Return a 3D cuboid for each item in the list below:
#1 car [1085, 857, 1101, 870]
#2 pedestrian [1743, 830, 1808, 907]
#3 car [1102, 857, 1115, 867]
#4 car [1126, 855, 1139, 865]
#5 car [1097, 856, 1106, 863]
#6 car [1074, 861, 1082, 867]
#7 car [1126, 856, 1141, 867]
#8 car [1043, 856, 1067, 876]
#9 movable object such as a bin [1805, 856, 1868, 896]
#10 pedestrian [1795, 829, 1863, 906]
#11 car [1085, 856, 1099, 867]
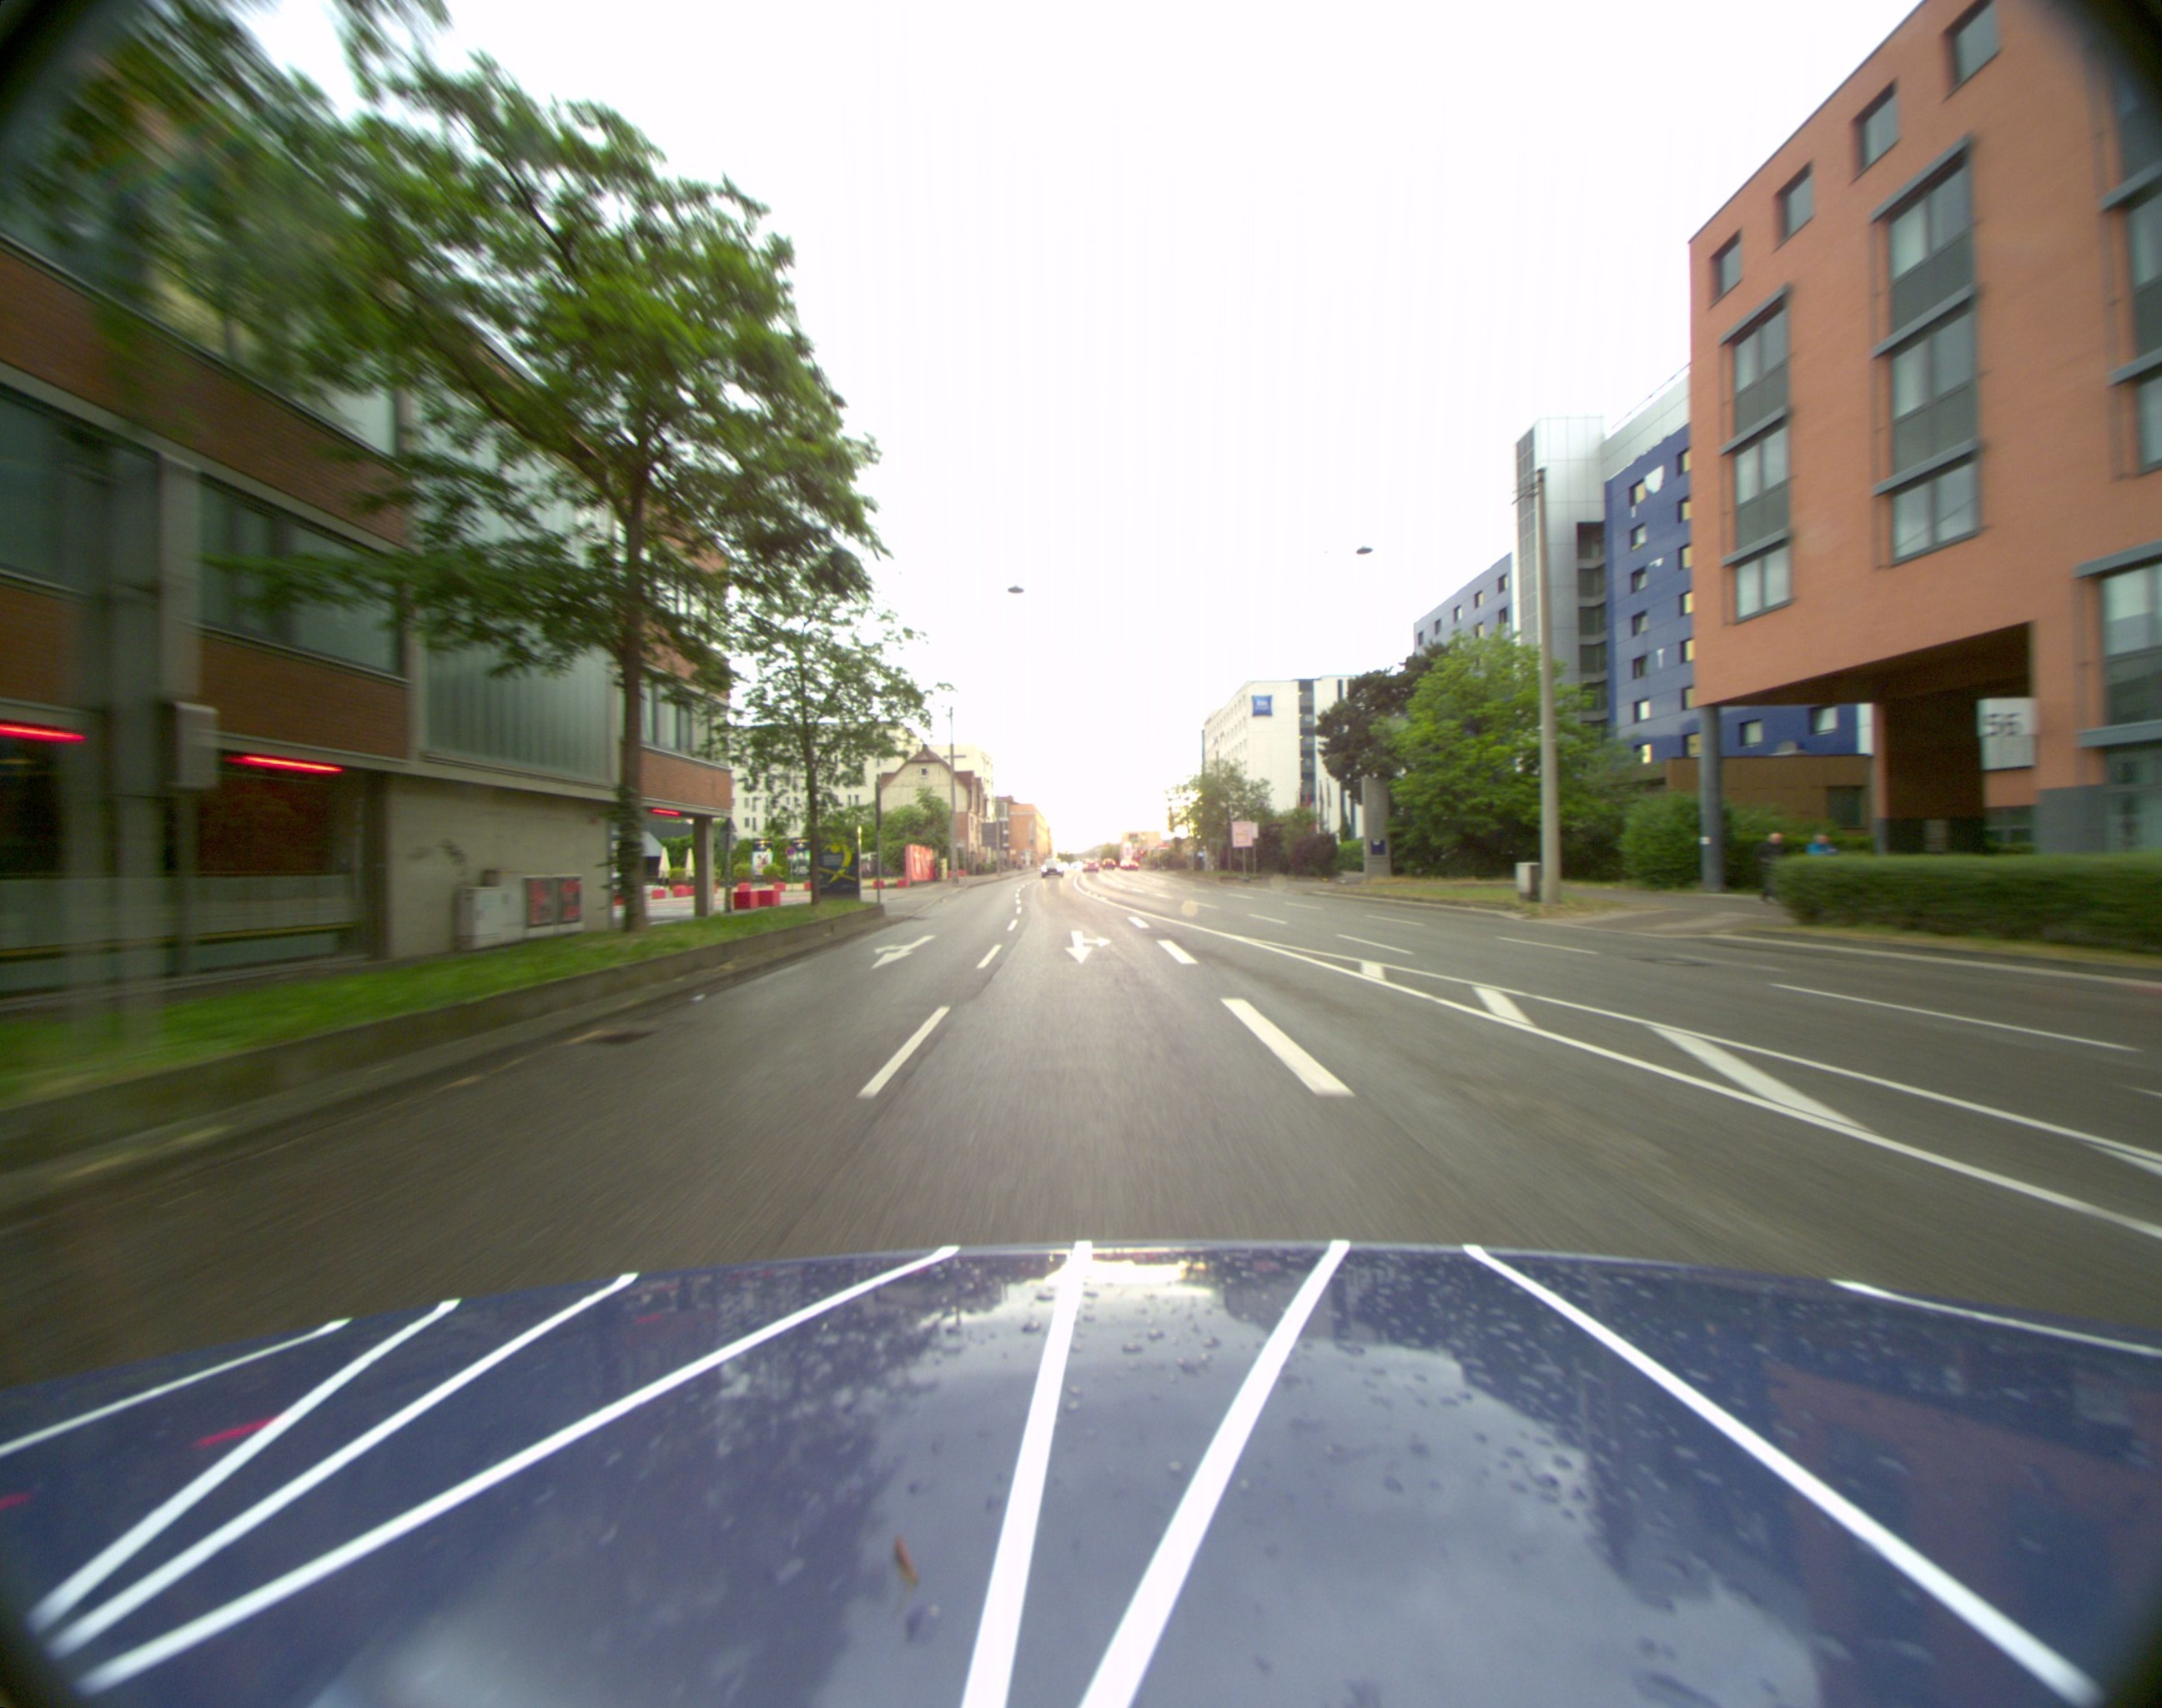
[{"bbox_3d":[1.492,1.128,95.757,1.998,1.543,4.000,-1,0,1],"label":"car"},{"bbox_3d":[17.189,0.361,18.832,0.747,1.830,0.886,-2,0,0],"label":"pedestrian"},{"bbox_3d":[4.435,1.260,125.030,1.998,1.543,4.000,-1,0,1],"label":"car"},{"bbox_3d":[8.238,1.002,122.212,1.767,1.559,3.999,1,0,-1],"label":"car"},{"bbox_3d":[4.566,1.259,168.847,1.998,1.543,4.000,-1,0,1],"label":"car"},{"bbox_3d":[-0.733,2.367,182.083,1.799,1.501,4.001,0,-1,1],"label":"car"},{"bbox_3d":[7.810,1.066,113.792,1.767,1.559,3.999,1,0,-2],"label":"car"},{"bbox_3d":[-2.378,1.091,70.362,1.998,1.656,5.424,-1,0,0],"label":"car"},{"bbox_3d":[24.112,0.690,24.276,0.782,1.241,1.210,-1,0,-3],"label":"movable object such as a bin"},{"bbox_3d":[18.444,0.327,18.753,0.747,1.830,0.886,-2,0,0],"label":"pedestrian"},{"bbox_3d":[1.553,1.048,107.465,1.998,1.543,4.000,-1,0,1],"label":"car"}]
